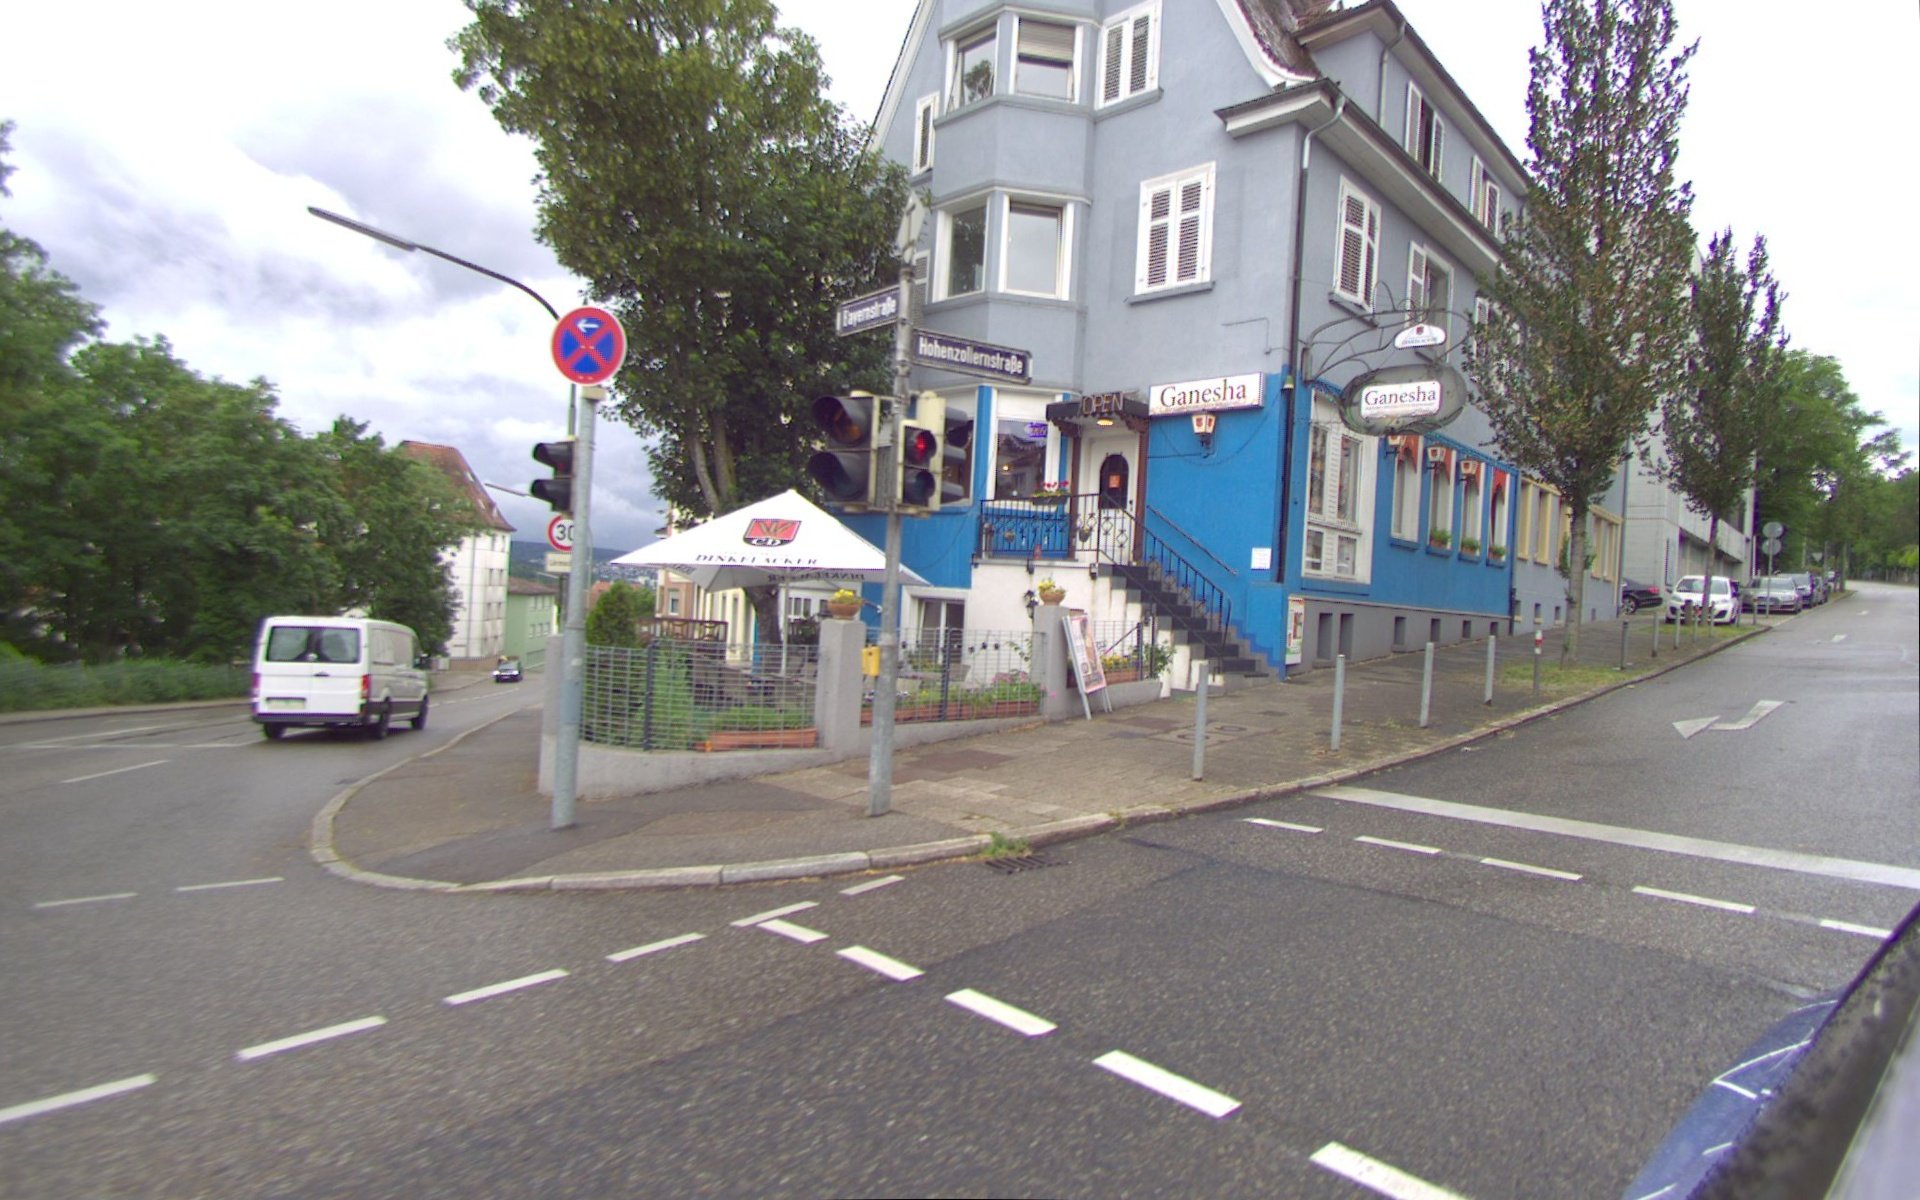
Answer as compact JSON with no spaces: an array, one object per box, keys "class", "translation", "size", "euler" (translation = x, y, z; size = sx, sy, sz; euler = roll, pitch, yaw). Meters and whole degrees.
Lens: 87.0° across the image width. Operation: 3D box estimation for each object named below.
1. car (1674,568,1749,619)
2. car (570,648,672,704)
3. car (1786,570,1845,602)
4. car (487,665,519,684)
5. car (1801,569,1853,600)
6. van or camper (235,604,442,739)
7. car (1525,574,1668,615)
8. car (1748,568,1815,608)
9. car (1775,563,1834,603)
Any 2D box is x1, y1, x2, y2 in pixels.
[{"class":"car","translation":[22.869,-0.230,30.743],"size":[1.585,1.429,3.406],"euler":[3,3,40]},{"class":"car","translation":[-14.879,3.372,44.583],"size":[4.087,2.264,1.943],"euler":[3,-8,-18]},{"class":"car","translation":[42.094,-0.723,49.768],"size":[4.028,1.462,1.709],"euler":[-1,3,-43]},{"class":"car","translation":[-38.020,6.173,84.282],"size":[1.760,1.325,3.974],"euler":[4,-3,-16]},{"class":"car","translation":[46.149,-0.850,53.853],"size":[1.840,1.461,4.091],"euler":[6,5,43]},{"class":"van or camper","translation":[-12.334,1.477,20.573],"size":[2.066,2.357,5.424],"euler":[2,-5,-16]},{"class":"car","translation":[23.289,-0.226,37.216],"size":[4.329,1.424,1.791],"euler":[0,2,30]},{"class":"car","translation":[32.951,-0.527,40.533],"size":[1.814,1.477,4.670],"euler":[3,3,42]},{"class":"car","translation":[38.544,-0.796,46.166],"size":[1.745,1.695,4.276],"euler":[3,3,44]}]
